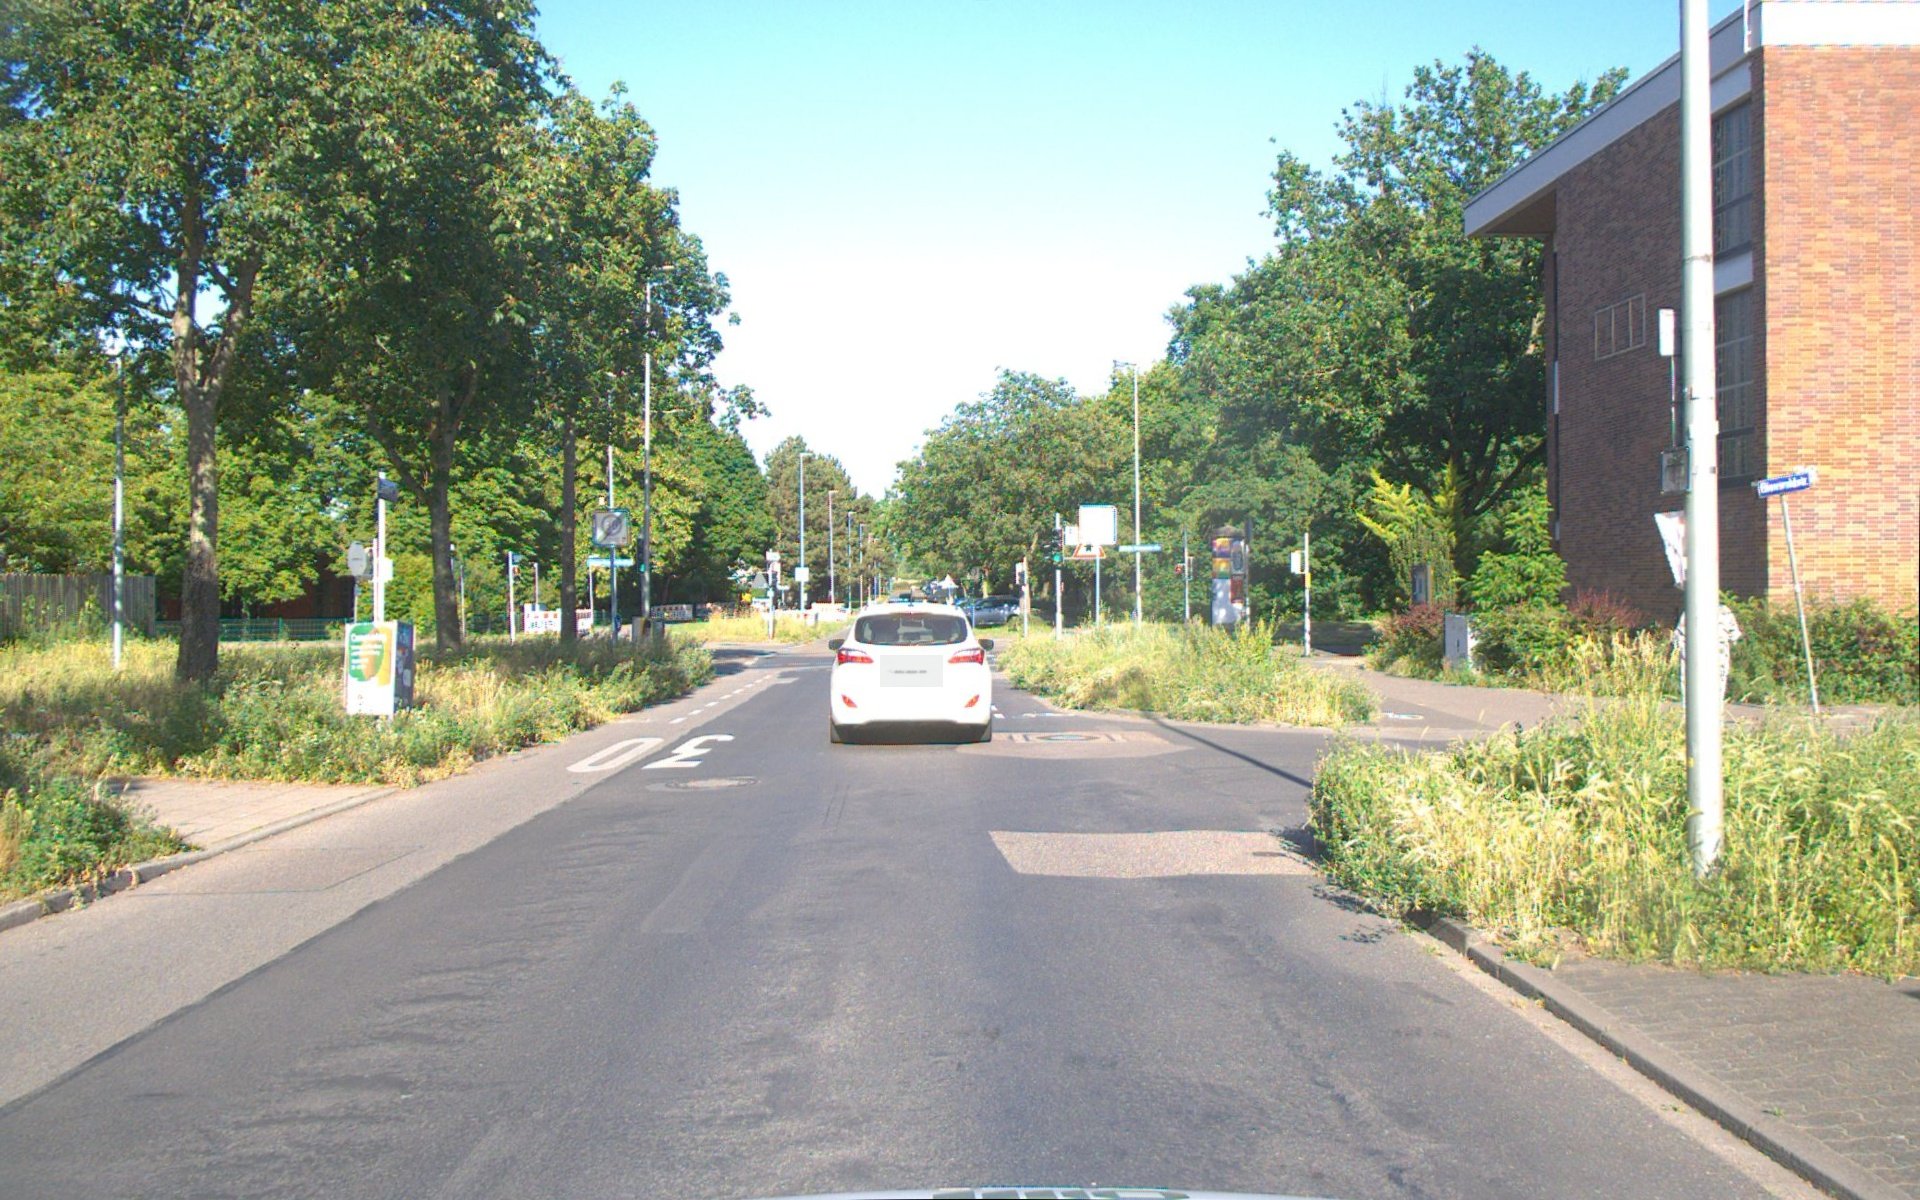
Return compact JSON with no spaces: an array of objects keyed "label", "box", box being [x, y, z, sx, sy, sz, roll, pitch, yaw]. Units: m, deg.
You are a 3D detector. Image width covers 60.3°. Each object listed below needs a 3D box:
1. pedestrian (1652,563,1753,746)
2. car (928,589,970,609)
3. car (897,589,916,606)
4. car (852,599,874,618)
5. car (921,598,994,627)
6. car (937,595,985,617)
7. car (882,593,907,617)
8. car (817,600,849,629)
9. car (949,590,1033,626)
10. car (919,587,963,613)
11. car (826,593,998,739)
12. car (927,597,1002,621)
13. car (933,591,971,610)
[{"label":"pedestrian","box":[7.750,0.555,17.291,0.880,1.853,0.736,0,-1,18]},{"label":"car","box":[-1.149,-0.084,167.755,4.215,1.941,1.863,1,-1,-2]},{"label":"car","box":[-5.793,-0.231,180.095,1.953,1.847,3.999,1,0,-1]},{"label":"car","box":[-9.421,0.806,160.536,1.953,1.847,3.999,0,0,-1]},{"label":"car","box":[-0.129,0.753,100.405,4.406,1.658,1.855,-1,0,1]},{"label":"car","box":[0.086,0.468,130.425,3.742,1.713,1.863,1,-1,-2]},{"label":"car","box":[-5.417,0.404,137.341,1.953,1.847,3.999,1,0,-2]},{"label":"car","box":[-8.609,0.965,112.306,1.953,1.847,3.999,1,1,-1]},{"label":"car","box":[1.645,0.426,88.450,4.406,1.814,1.855,-1,0,1]},{"label":"car","box":[-1.618,0.004,140.414,3.742,2.135,1.863,1,-1,-2]},{"label":"car","box":[-0.545,0.667,18.902,1.753,1.489,3.962,0,0,-2]},{"label":"car","box":[0.314,0.656,123.559,5.500,1.713,1.947,1,-1,-2]},{"label":"car","box":[-0.839,0.067,164.614,3.742,1.798,1.863,1,-1,-2]}]
